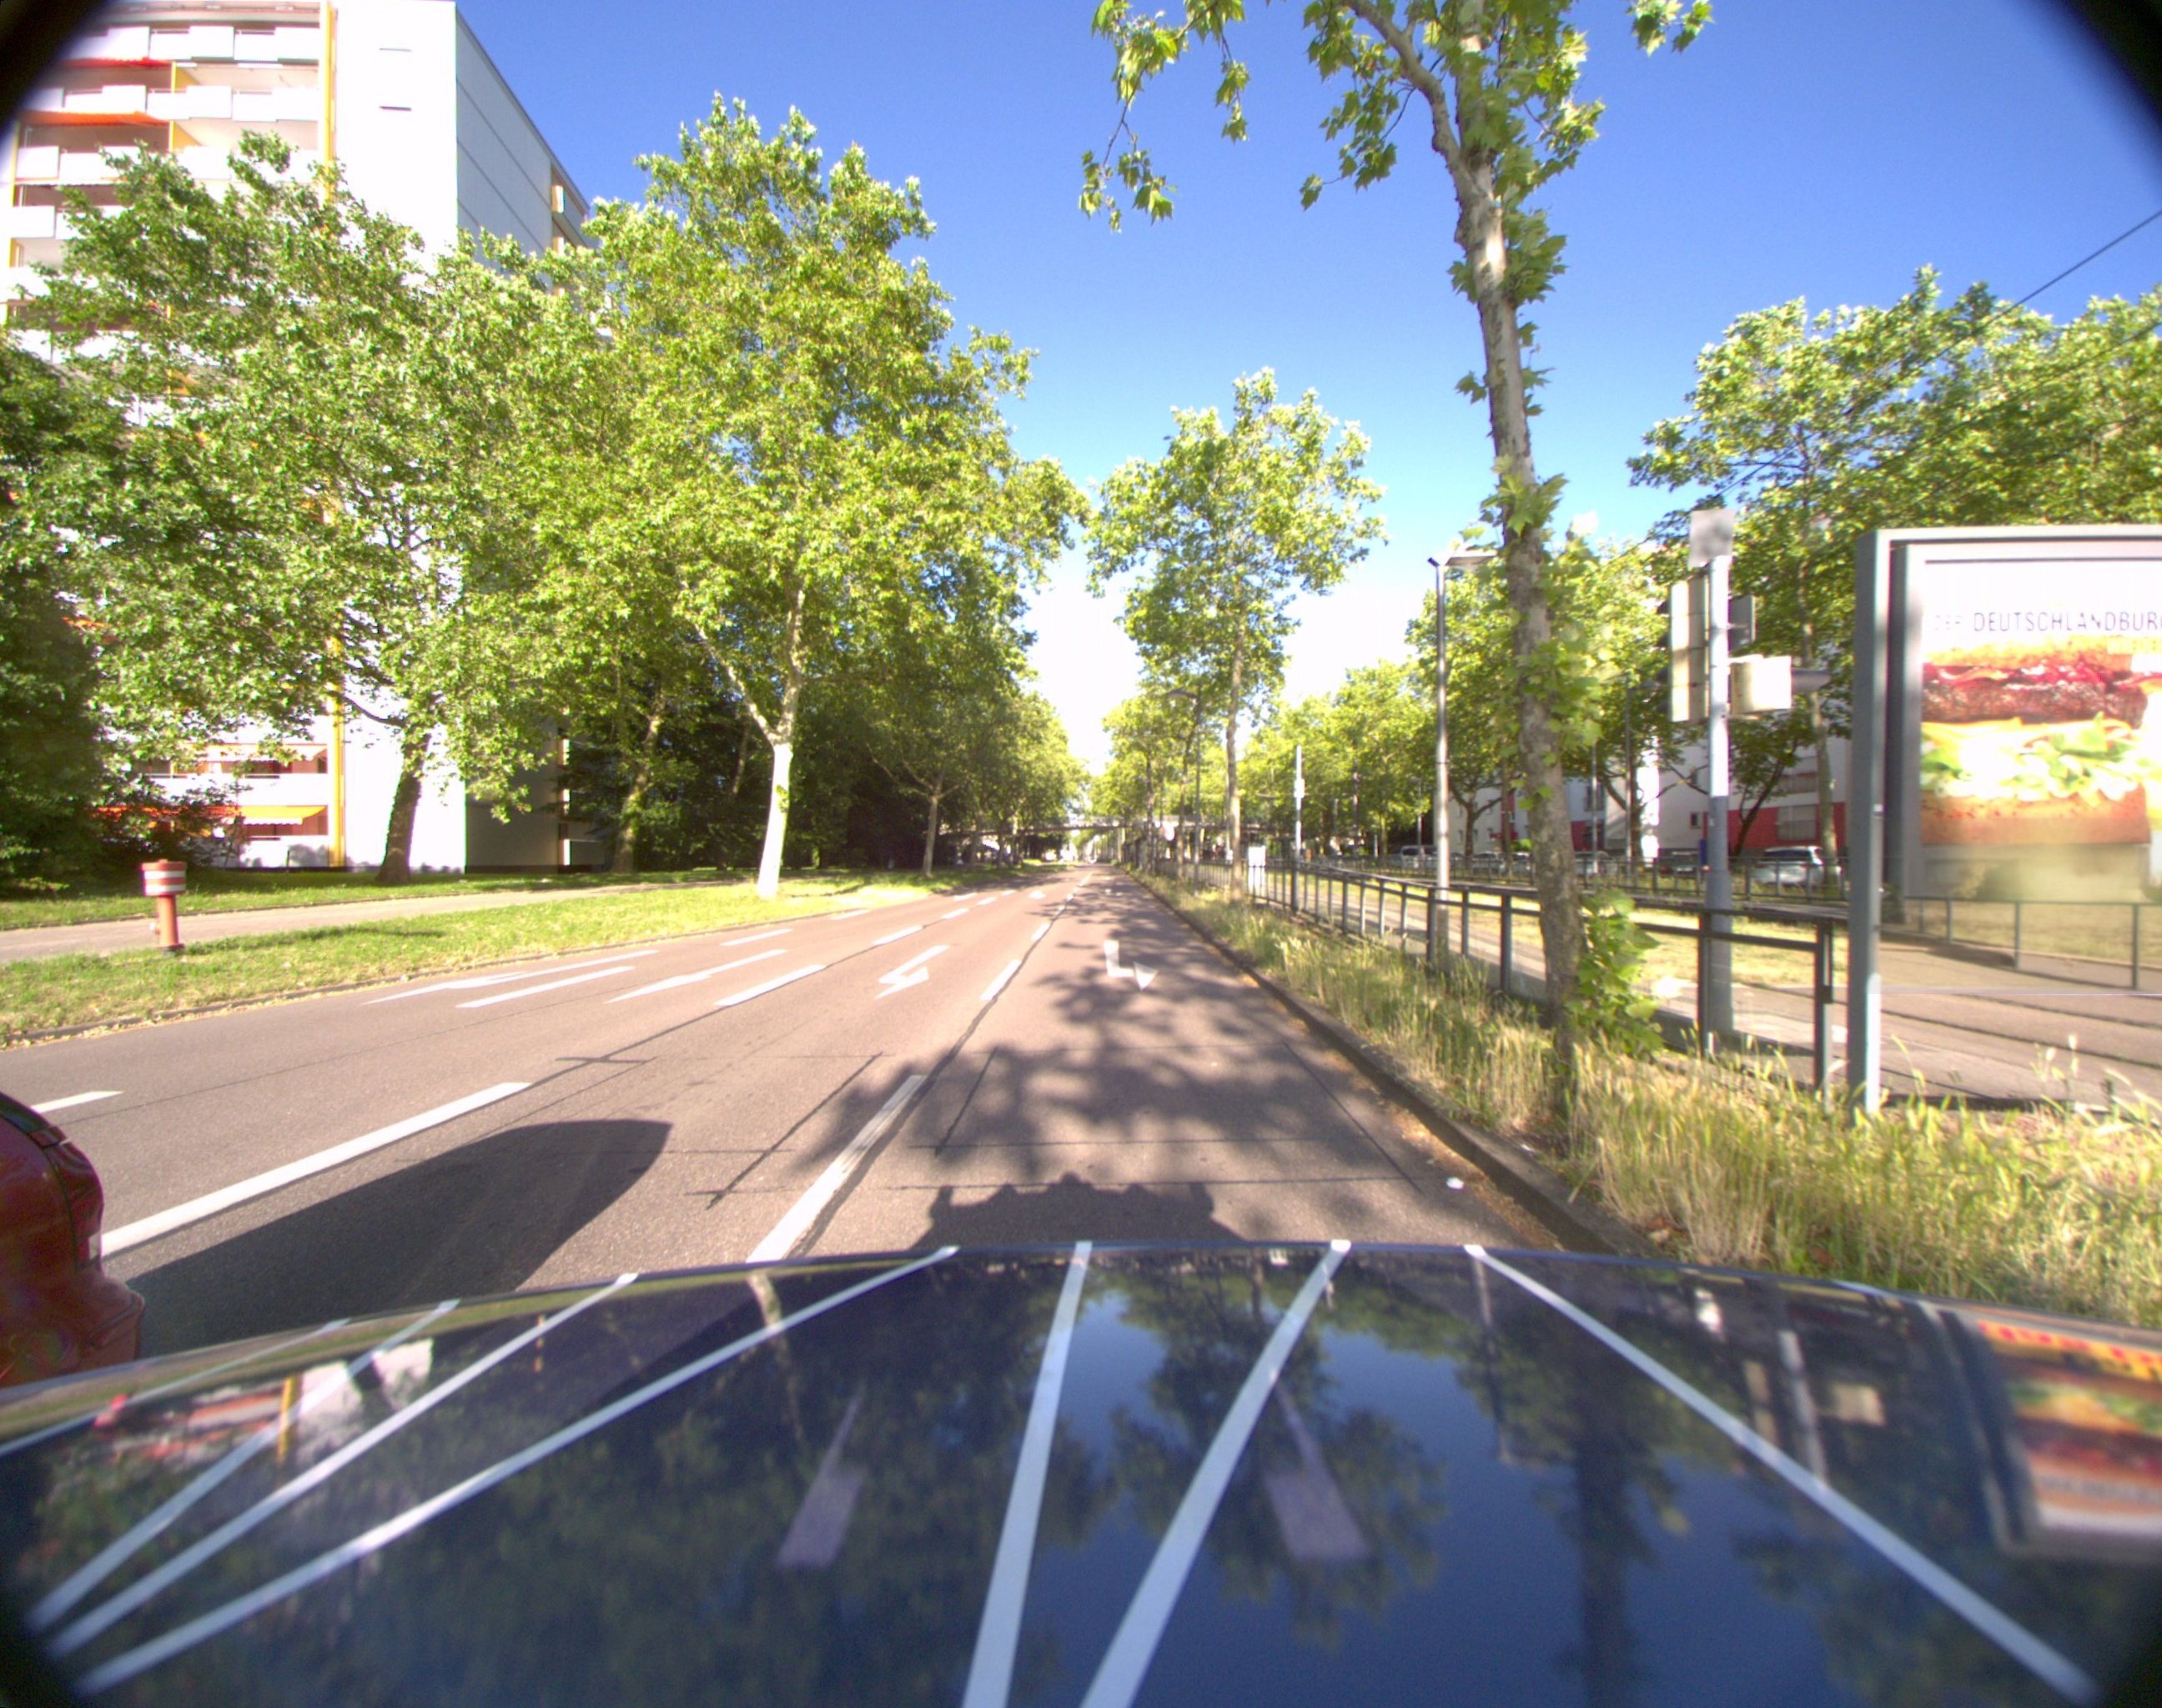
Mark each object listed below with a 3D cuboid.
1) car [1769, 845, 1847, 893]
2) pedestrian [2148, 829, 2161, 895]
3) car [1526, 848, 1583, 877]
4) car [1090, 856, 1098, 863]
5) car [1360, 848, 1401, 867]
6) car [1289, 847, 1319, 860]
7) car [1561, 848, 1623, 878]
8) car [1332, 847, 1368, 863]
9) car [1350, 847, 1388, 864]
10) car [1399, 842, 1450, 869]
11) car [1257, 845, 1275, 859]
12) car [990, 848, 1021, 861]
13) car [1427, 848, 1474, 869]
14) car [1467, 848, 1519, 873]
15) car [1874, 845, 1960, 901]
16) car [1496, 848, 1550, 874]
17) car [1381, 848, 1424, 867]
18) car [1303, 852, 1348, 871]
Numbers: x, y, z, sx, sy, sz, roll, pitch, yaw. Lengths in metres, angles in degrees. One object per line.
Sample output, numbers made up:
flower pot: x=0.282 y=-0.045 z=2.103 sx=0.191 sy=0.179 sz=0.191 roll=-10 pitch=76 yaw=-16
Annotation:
car: x=25.362 y=0.489 z=26.470 sx=3.811 sy=1.501 sz=1.652 roll=-2 pitch=0 yaw=-42
pedestrian: x=28.788 y=0.198 z=19.833 sx=0.764 sy=1.723 sz=0.786 roll=-2 pitch=1 yaw=-1
car: x=25.868 y=0.443 z=41.474 sx=3.811 sy=1.433 sz=1.652 roll=-2 pitch=0 yaw=-42
car: x=2.692 y=1.203 z=162.135 sx=1.580 sy=1.395 sz=3.638 roll=-2 pitch=0 yaw=0
car: x=24.949 y=0.272 z=63.204 sx=3.811 sy=1.433 sz=1.652 roll=-2 pitch=0 yaw=-42
car: x=26.445 y=-0.047 z=89.969 sx=3.811 sy=1.433 sz=1.652 roll=-2 pitch=0 yaw=-42
car: x=25.387 y=0.448 z=37.693 sx=3.811 sy=1.348 sz=1.652 roll=-2 pitch=0 yaw=-42
car: x=26.071 y=0.134 z=73.560 sx=3.811 sy=1.433 sz=1.652 roll=-2 pitch=0 yaw=-42
car: x=26.624 y=0.135 z=70.128 sx=3.811 sy=1.433 sz=1.652 roll=-2 pitch=0 yaw=-42
car: x=25.823 y=0.089 z=57.025 sx=4.330 sy=1.863 sz=1.836 roll=-2 pitch=0 yaw=-42
car: x=21.208 y=-0.228 z=87.230 sx=1.579 sy=1.548 sz=2.817 roll=-2 pitch=0 yaw=3
car: x=-11.785 y=0.034 z=118.775 sx=4.719 sy=1.924 sz=1.907 roll=-2 pitch=0 yaw=-6
car: x=26.307 y=0.310 z=54.027 sx=3.811 sy=1.433 sz=1.652 roll=-2 pitch=0 yaw=-42
car: x=25.856 y=0.397 z=47.673 sx=3.811 sy=1.433 sz=1.652 roll=-2 pitch=0 yaw=-42
car: x=25.248 y=0.524 z=22.961 sx=3.811 sy=1.501 sz=1.652 roll=-2 pitch=0 yaw=-42
car: x=26.103 y=0.407 z=44.859 sx=3.811 sy=1.433 sz=1.652 roll=-2 pitch=0 yaw=-42
car: x=25.735 y=0.270 z=60.747 sx=3.811 sy=1.433 sz=1.652 roll=-2 pitch=0 yaw=-42
car: x=20.755 y=0.657 z=64.627 sx=1.657 sy=1.501 sz=4.638 roll=-2 pitch=0 yaw=-10
